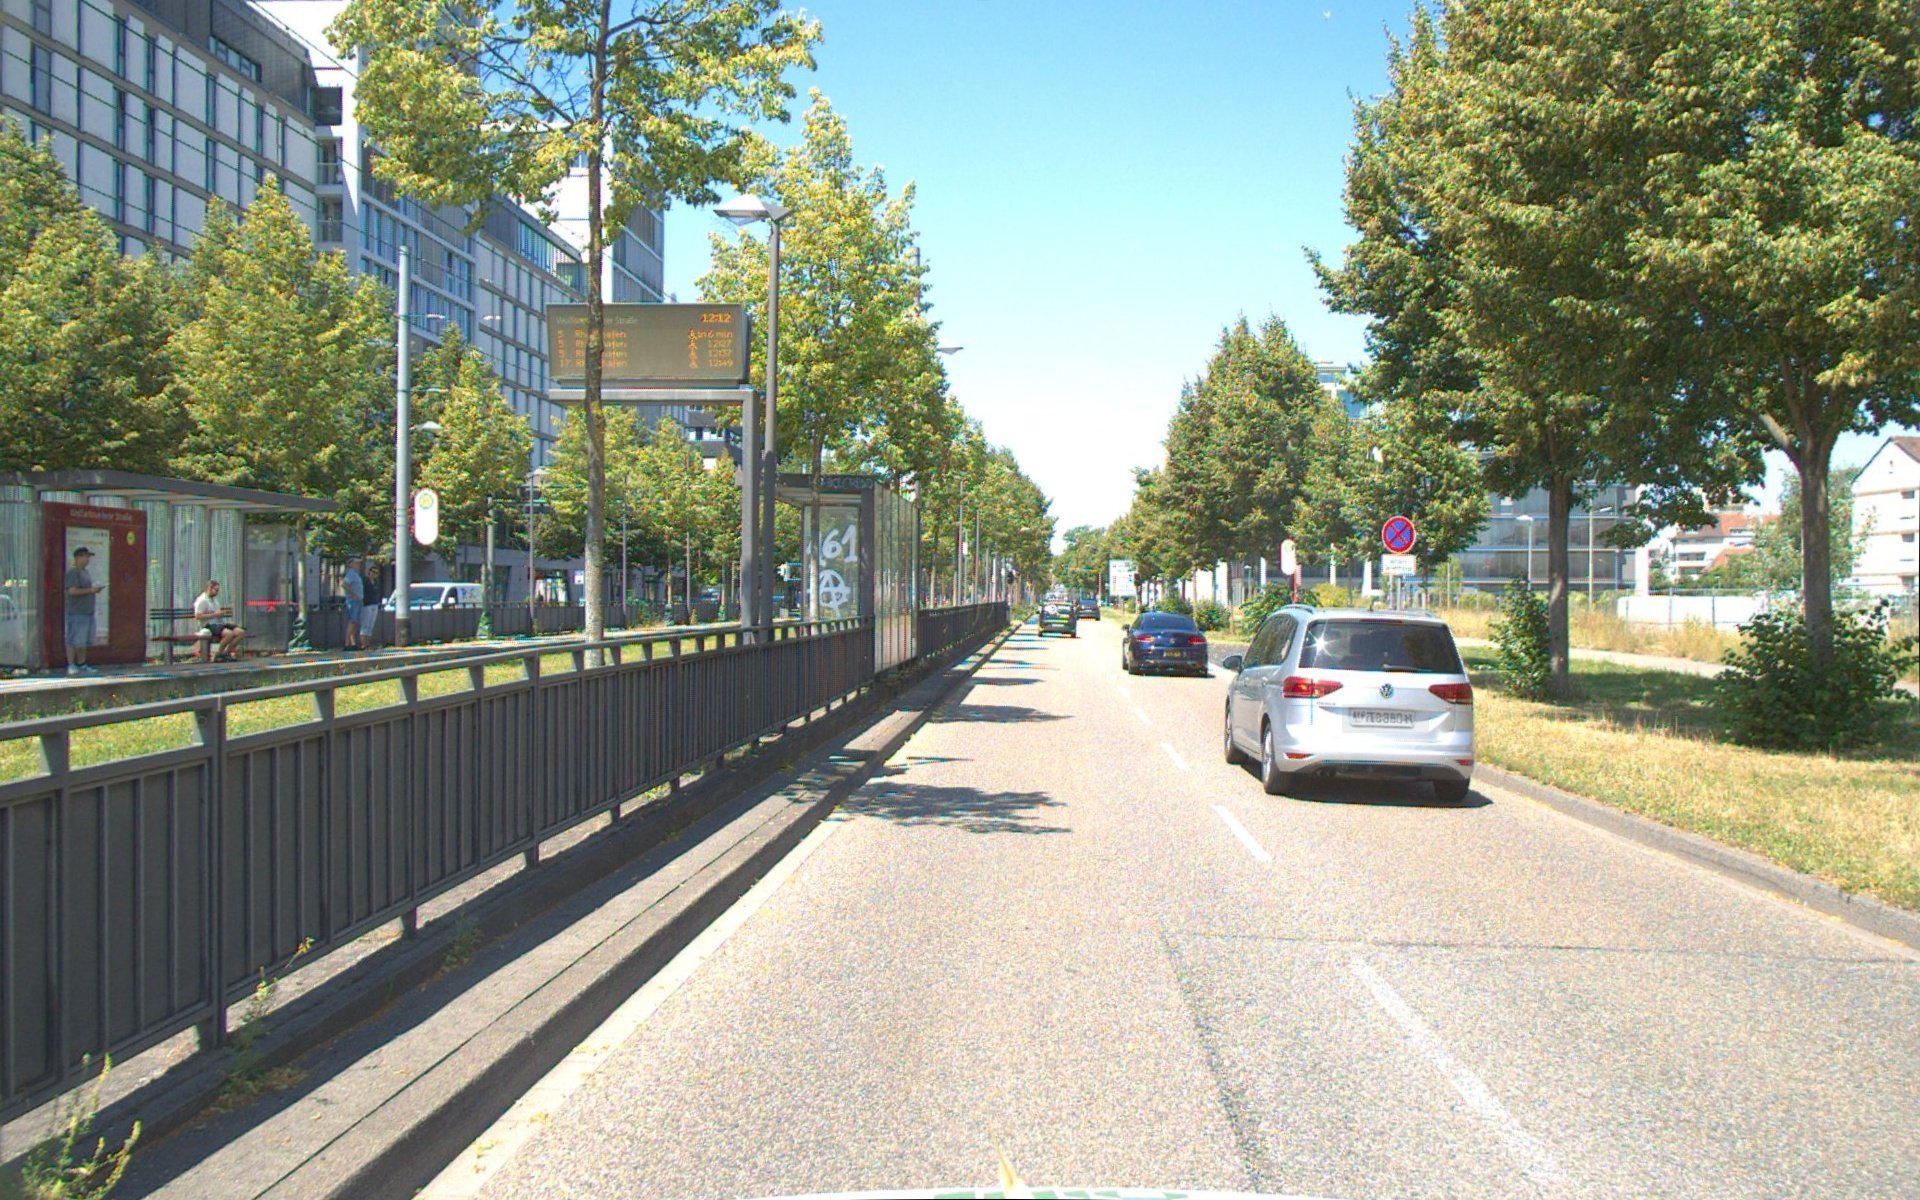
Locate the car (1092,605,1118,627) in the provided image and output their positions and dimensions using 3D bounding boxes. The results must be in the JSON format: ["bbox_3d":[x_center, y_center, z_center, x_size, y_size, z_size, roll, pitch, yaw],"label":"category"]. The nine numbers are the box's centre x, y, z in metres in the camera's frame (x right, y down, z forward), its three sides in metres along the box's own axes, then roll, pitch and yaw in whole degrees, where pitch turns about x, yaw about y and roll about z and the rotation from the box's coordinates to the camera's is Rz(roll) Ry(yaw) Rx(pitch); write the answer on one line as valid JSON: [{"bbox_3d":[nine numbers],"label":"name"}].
[{"bbox_3d":[10.753,1.189,122.932,1.729,1.655,3.716,0,-1,2],"label":"car"}]

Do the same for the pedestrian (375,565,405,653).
[{"bbox_3d":[-11.606,0.186,33.675,0.401,1.782,0.586,0,-1,0],"label":"pedestrian"}]

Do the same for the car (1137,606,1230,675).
[{"bbox_3d":[5.112,0.913,38.327,1.813,1.462,4.957,0,-1,4],"label":"car"}]

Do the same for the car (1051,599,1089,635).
[{"bbox_3d":[4.642,0.740,70.159,1.584,1.477,3.987,0,-1,3],"label":"car"}]

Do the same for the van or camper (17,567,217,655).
[{"bbox_3d":[-24.845,0.318,49.126,2.131,2.428,6.774,0,0,3],"label":"van or camper"}]

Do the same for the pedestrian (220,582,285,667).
[{"bbox_3d":[-12.155,0.417,28.421,0.817,1.438,0.642,0,-1,3],"label":"pedestrian"}]

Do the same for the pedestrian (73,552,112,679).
[{"bbox_3d":[-12.295,0.220,23.446,0.459,1.769,0.474,1,-1,-26],"label":"pedestrian"}]

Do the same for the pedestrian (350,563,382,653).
[{"bbox_3d":[-11.846,0.166,33.008,0.401,1.782,0.586,0,-1,0],"label":"pedestrian"}]

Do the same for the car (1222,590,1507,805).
[{"bbox_3d":[3.660,0.800,15.788,1.763,1.677,4.606,2,0,3],"label":"car"}]

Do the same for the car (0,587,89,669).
[{"bbox_3d":[-20.060,0.569,34.444,1.537,1.644,3.963,0,0,4],"label":"car"}]

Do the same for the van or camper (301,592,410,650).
[{"bbox_3d":[-15.949,0.543,43.813,1.445,1.452,3.430,0,0,3],"label":"van or camper"}]

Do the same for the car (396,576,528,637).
[{"bbox_3d":[-15.569,0.209,52.035,2.411,1.837,5.072,0,0,3],"label":"car"}]
